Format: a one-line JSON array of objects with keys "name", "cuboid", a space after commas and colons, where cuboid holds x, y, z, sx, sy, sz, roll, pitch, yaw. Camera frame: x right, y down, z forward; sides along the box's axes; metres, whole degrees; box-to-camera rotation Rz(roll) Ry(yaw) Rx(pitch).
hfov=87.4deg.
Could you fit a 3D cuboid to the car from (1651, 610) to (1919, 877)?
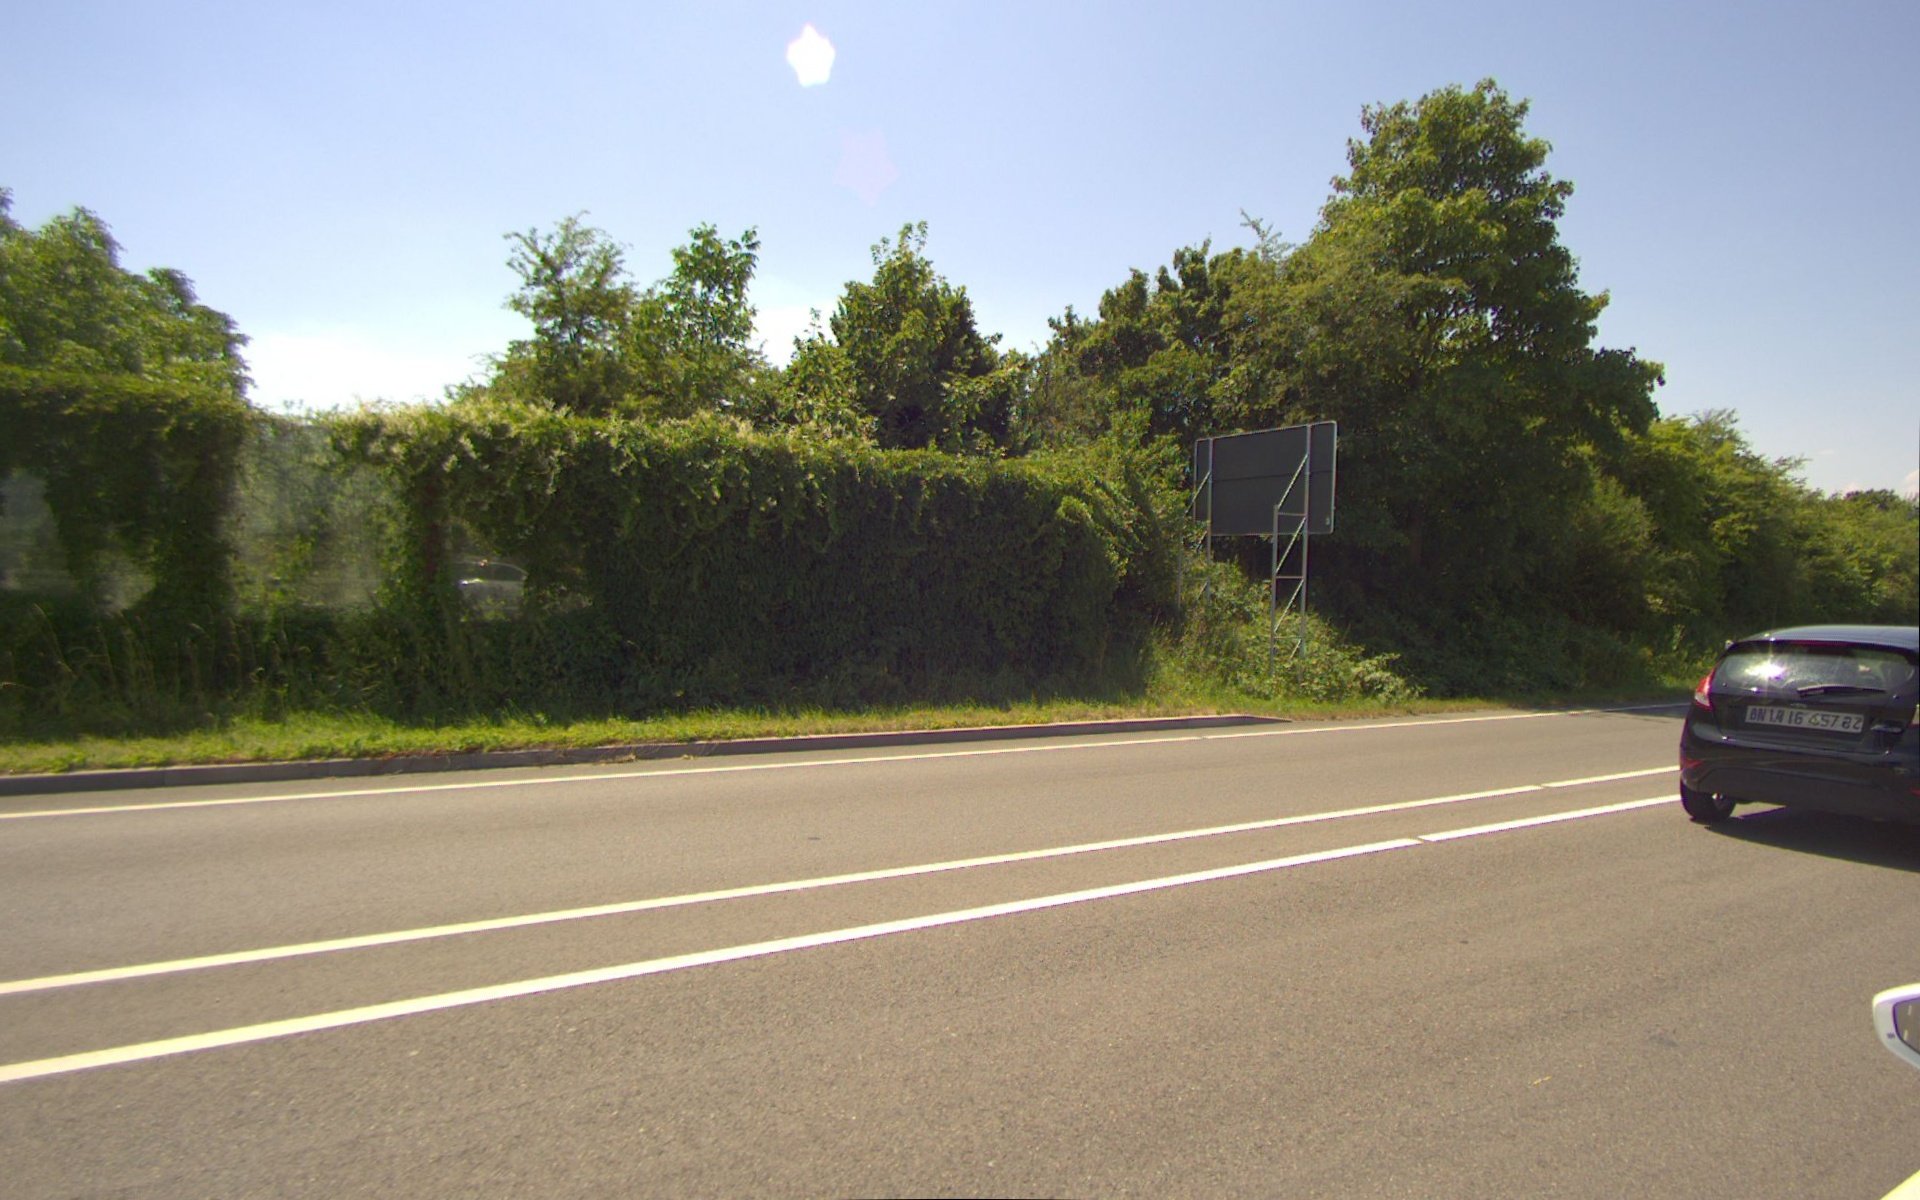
[{"name": "car", "cuboid": [7.126, 0.867, 7.519, 4.159, 1.514, 1.644, 0, 2, -31]}]
